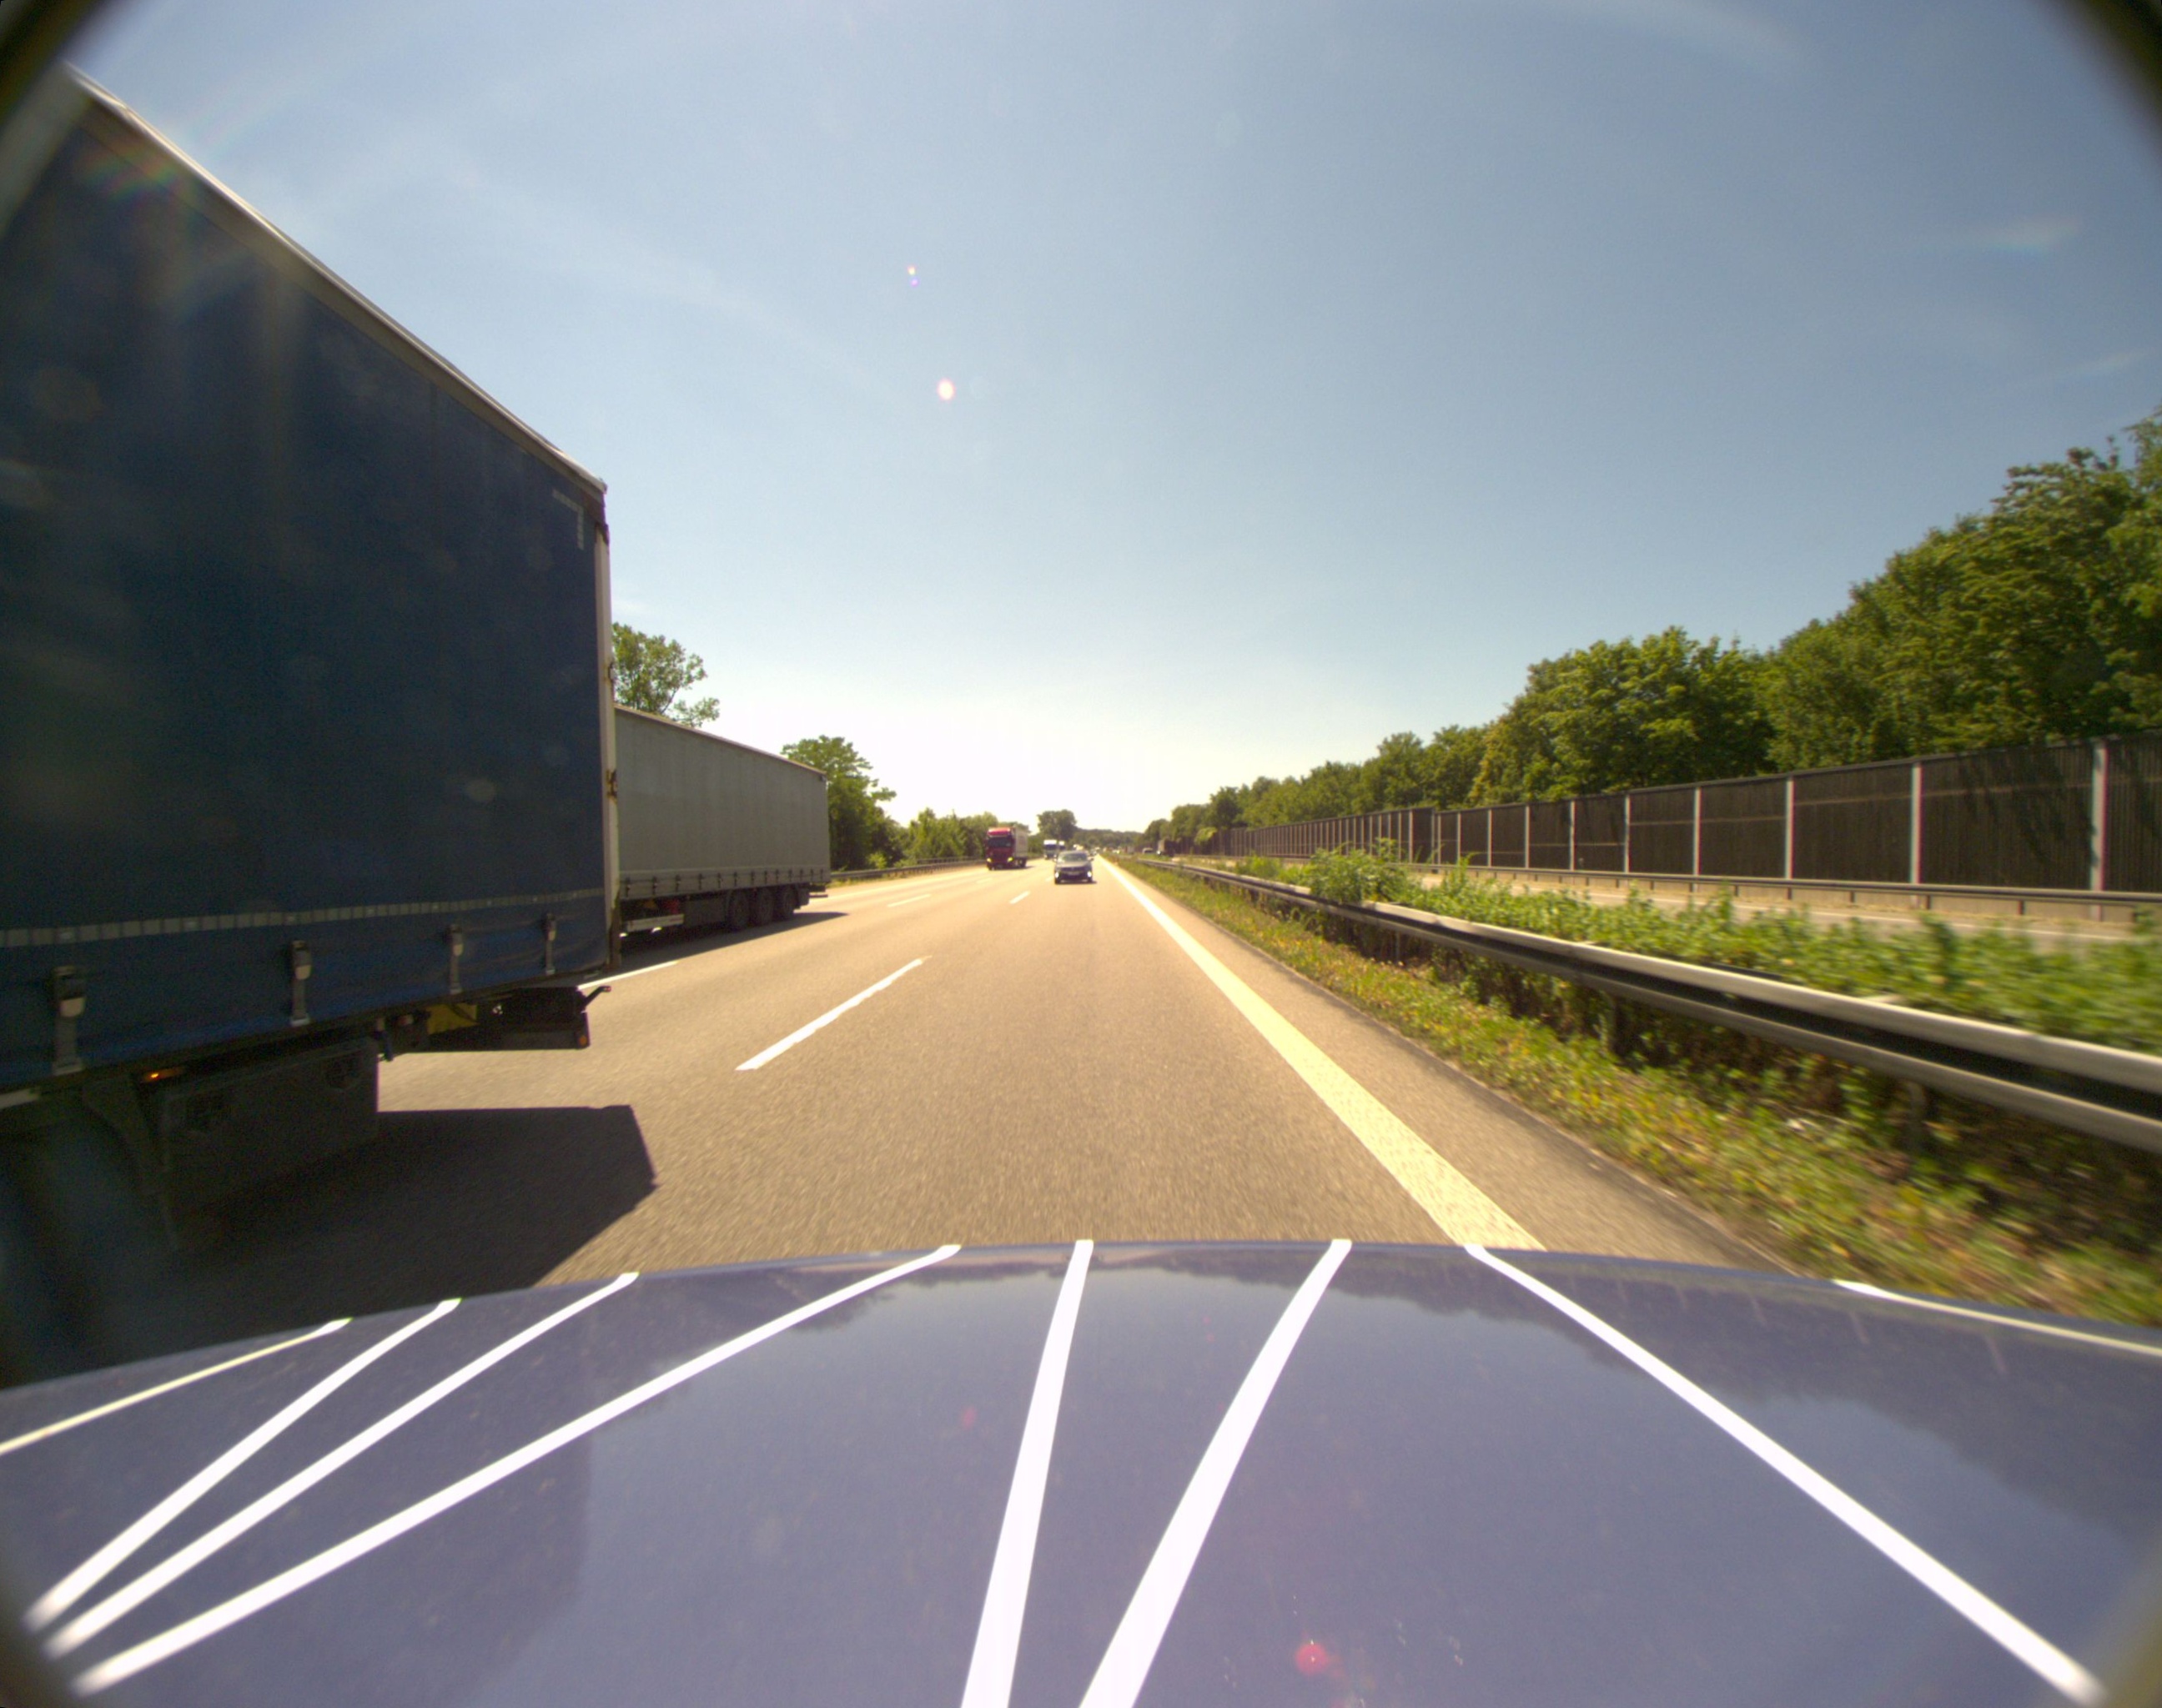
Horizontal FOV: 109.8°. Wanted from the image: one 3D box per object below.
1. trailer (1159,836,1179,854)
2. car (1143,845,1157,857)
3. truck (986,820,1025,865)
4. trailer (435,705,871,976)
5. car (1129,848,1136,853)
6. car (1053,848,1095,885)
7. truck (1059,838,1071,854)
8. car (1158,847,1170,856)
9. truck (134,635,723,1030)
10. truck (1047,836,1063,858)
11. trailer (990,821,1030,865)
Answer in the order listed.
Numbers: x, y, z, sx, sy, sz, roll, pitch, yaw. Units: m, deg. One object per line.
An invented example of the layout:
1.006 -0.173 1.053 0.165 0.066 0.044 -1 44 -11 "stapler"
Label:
20.417 -2.155 177.592 3.125 3.985 13.874 1 1 1 "trailer"
10.840 -0.459 119.444 1.787 1.830 4.558 0 1 0 "car"
-7.228 -1.114 73.880 2.803 4.094 7.768 -2 1 0 "truck"
-8.447 -0.282 18.366 2.707 4.094 13.239 -2 1 1 "trailer"
17.693 -1.256 261.244 2.001 1.565 4.000 -1 1 3 "car"
-0.319 0.559 37.144 1.885 1.630 5.008 -1 1 0 "car"
-3.962 -2.043 192.251 2.743 3.844 12.464 -2 1 0 "truck"
16.101 -0.550 147.241 1.885 1.682 4.548 -1 1 0 "car"
-8.544 -0.257 11.546 2.707 4.094 6.989 -2 1 0 "truck"
-5.463 -1.467 159.250 2.992 4.248 9.822 -2 1 0 "truck"
-7.225 -1.159 78.997 2.803 4.094 12.298 -2 1 0 "trailer"
